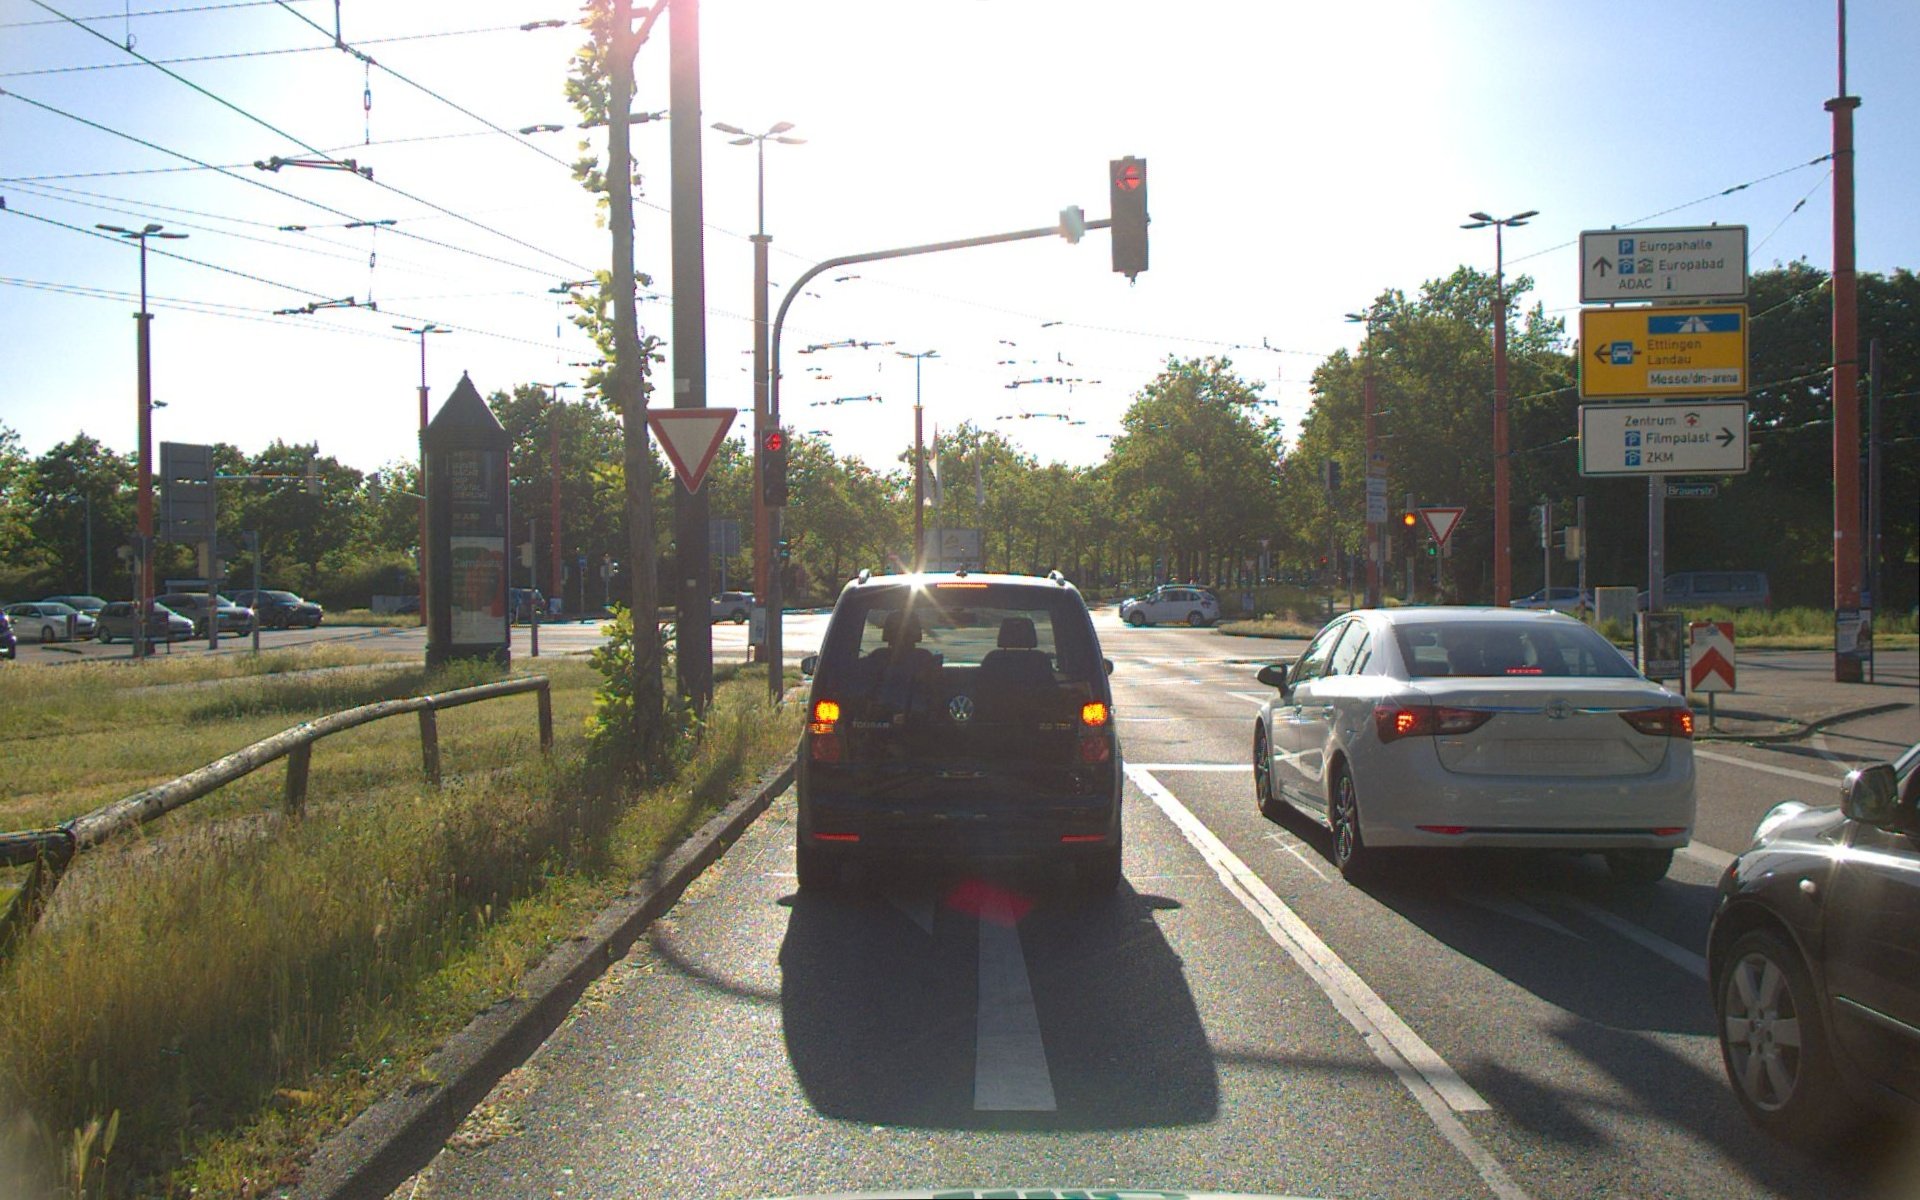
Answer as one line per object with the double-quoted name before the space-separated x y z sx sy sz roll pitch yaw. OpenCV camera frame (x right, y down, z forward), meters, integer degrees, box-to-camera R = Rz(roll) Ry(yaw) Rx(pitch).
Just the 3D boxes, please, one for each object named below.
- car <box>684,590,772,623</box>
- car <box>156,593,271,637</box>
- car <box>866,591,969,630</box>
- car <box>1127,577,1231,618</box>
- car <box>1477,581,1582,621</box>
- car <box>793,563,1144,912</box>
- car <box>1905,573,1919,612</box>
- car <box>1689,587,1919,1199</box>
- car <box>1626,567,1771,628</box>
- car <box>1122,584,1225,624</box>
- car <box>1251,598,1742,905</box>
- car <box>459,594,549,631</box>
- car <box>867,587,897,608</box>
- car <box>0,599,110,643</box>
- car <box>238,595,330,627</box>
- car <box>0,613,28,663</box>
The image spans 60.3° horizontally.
"car" -11.139 0.316 79.479 3.884 1.466 1.686 1 0 24
"car" -28.961 0.572 64.148 3.907 1.673 1.999 0 0 24
"car" -1.839 0.429 71.201 4.039 1.626 1.827 0 0 27
"car" 9.313 -0.109 70.357 4.037 1.672 1.851 0 0 24
"car" 21.736 0.045 63.137 3.662 1.499 1.599 0 0 26
"car" 0.006 0.643 9.800 1.666 1.650 3.896 0 0 -1
"car" 34.498 -0.216 56.459 3.753 1.286 1.602 1 0 26
"car" 3.185 0.745 3.561 1.620 1.526 3.614 1 0 0
"car" 25.722 -0.077 57.630 4.483 2.049 1.997 0 0 28
"car" 8.543 0.157 66.155 3.743 1.549 1.694 0 0 25
"car" 2.973 0.730 10.127 1.685 1.463 4.198 1 0 1
"car" -22.407 0.605 81.294 4.097 1.673 1.758 1 0 26
"car" -6.382 -0.192 135.793 1.874 1.664 4.003 1 0 6
"car" -34.691 0.768 63.181 4.091 1.640 1.867 0 0 25
"car" -29.274 0.473 71.583 3.913 1.353 1.694 0 0 31
"car" -28.868 1.117 48.939 1.771 1.415 2.833 0 0 -19
